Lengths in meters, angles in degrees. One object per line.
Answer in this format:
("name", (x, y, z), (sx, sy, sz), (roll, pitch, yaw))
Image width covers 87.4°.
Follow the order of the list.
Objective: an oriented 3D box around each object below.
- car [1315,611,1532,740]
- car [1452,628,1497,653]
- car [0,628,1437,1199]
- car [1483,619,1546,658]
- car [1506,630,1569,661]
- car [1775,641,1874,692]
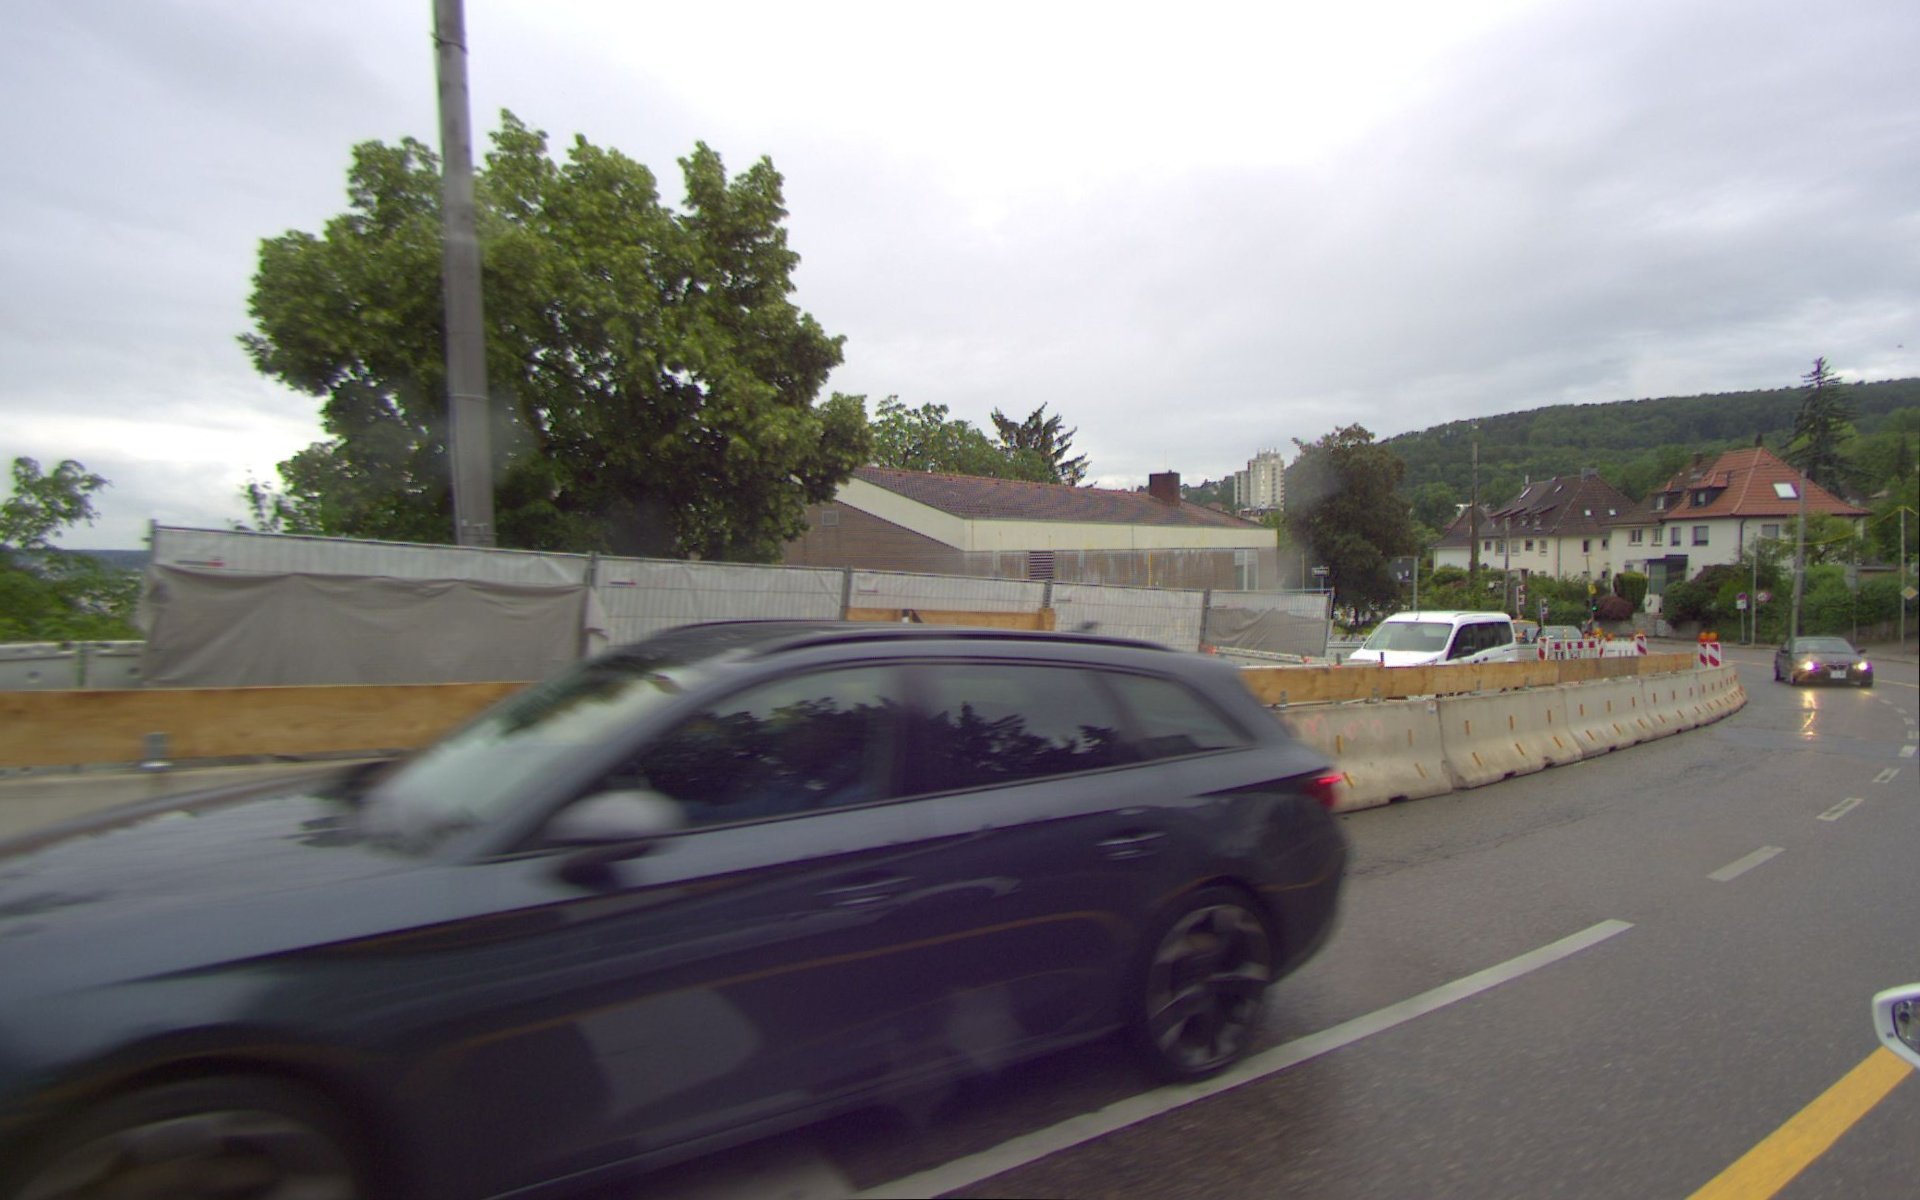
("car", (8.857, 1.291, 18.999), (4.771, 2.041, 1.975), (1, 2, -43))
("car", (32.607, 2.553, 63.701), (1.815, 1.483, 3.769), (0, -1, 16))
("car", (-0.501, 0.839, 3.296), (4.320, 1.422, 1.773), (1, 0, -34))
("car", (30.621, 2.111, 55.614), (1.960, 2.040, 5.145), (0, -1, 16))
("car", (28.709, 2.223, 50.041), (1.815, 1.483, 3.769), (0, -1, 16))
("car", (24.489, 1.875, 28.590), (1.626, 1.328, 4.251), (-3, -4, 34))
